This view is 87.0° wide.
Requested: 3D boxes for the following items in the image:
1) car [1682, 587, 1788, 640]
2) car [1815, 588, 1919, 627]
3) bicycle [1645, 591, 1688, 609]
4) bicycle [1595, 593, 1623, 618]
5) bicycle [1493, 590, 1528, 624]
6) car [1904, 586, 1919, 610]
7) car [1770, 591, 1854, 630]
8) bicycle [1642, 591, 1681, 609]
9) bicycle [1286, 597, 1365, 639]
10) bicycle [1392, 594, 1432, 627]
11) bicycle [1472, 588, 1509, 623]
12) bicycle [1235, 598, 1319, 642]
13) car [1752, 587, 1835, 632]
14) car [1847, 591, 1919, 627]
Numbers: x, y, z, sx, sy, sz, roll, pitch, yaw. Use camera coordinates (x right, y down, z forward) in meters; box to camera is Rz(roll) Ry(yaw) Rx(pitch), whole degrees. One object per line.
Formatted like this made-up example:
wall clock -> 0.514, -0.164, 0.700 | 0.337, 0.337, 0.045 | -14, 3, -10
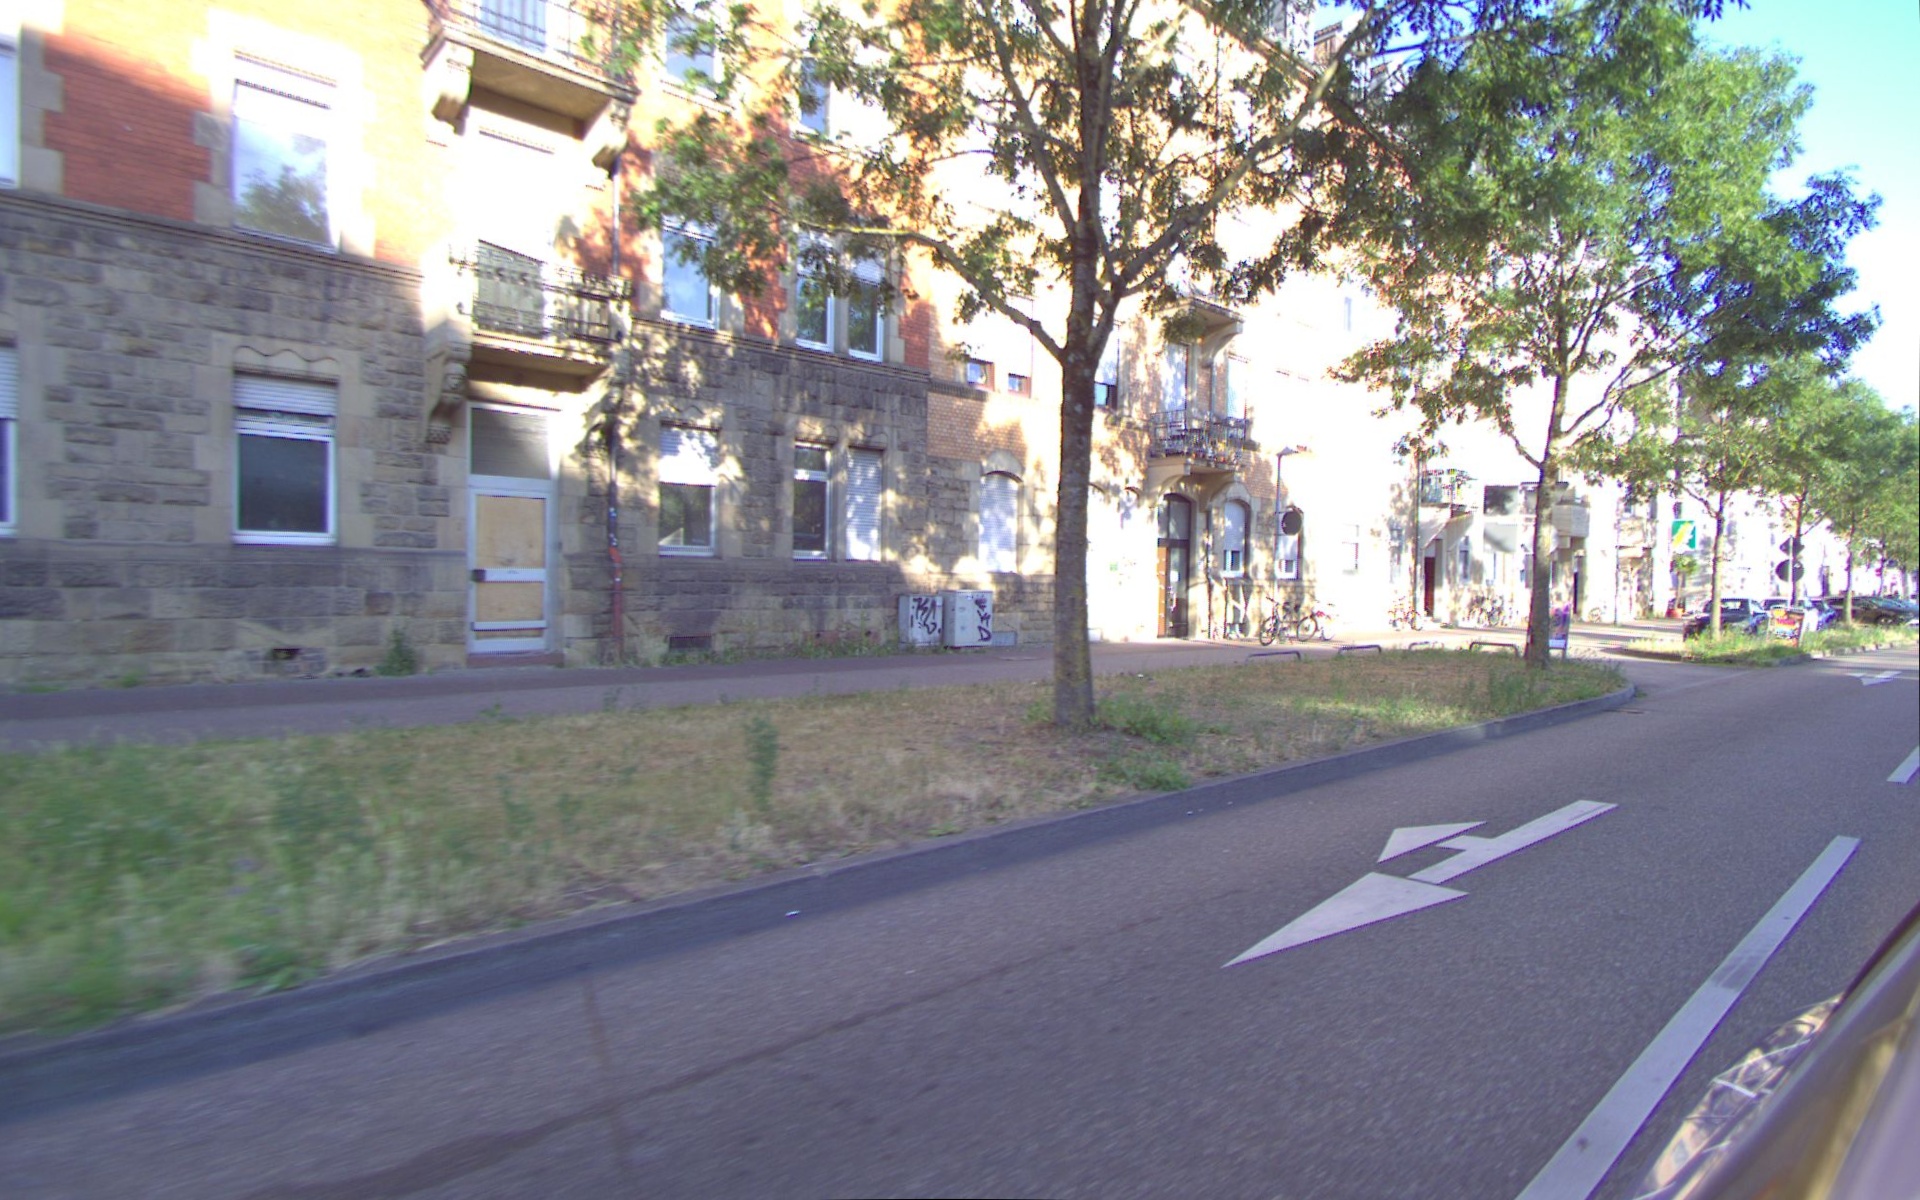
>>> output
car -> 23.100, 0.371, 30.099 | 4.214, 1.467, 1.706 | 0, -1, -42
car -> 40.142, 0.339, 43.952 | 1.960, 1.591, 4.348 | 0, 0, -9
bicycle -> 46.193, -0.025, 66.198 | 0.530, 1.119, 2.206 | 0, 2, -45
bicycle -> 29.444, 0.222, 45.886 | 1.864, 1.086, 0.573 | 0, 2, -42
bicycle -> 20.410, 0.238, 37.528 | 1.716, 1.178, 0.484 | 0, 6, -42
car -> 67.258, -0.106, 68.738 | 1.877, 1.712, 4.439 | 1, 1, -7
car -> 33.864, 0.397, 40.180 | 4.825, 1.463, 1.947 | 0, -1, -43
bicycle -> 45.638, -0.013, 65.864 | 0.566, 1.138, 1.973 | 0, 2, -45
bicycle -> 9.110, 0.434, 25.160 | 2.297, 0.960, 0.735 | 0, 3, -39
bicycle -> 14.246, 0.319, 31.851 | 1.716, 1.018, 0.484 | 0, 1, -42
bicycle -> 19.023, 0.203, 36.273 | 1.716, 1.178, 0.484 | 0, 6, -42
bicycle -> 7.339, 0.445, 23.368 | 2.048, 0.927, 0.874 | 0, 3, -40
car -> 29.981, 0.329, 36.361 | 4.199, 1.531, 1.727 | 0, -1, -43
car -> 42.397, 0.373, 44.967 | 1.809, 1.541, 4.295 | 0, 1, -9
